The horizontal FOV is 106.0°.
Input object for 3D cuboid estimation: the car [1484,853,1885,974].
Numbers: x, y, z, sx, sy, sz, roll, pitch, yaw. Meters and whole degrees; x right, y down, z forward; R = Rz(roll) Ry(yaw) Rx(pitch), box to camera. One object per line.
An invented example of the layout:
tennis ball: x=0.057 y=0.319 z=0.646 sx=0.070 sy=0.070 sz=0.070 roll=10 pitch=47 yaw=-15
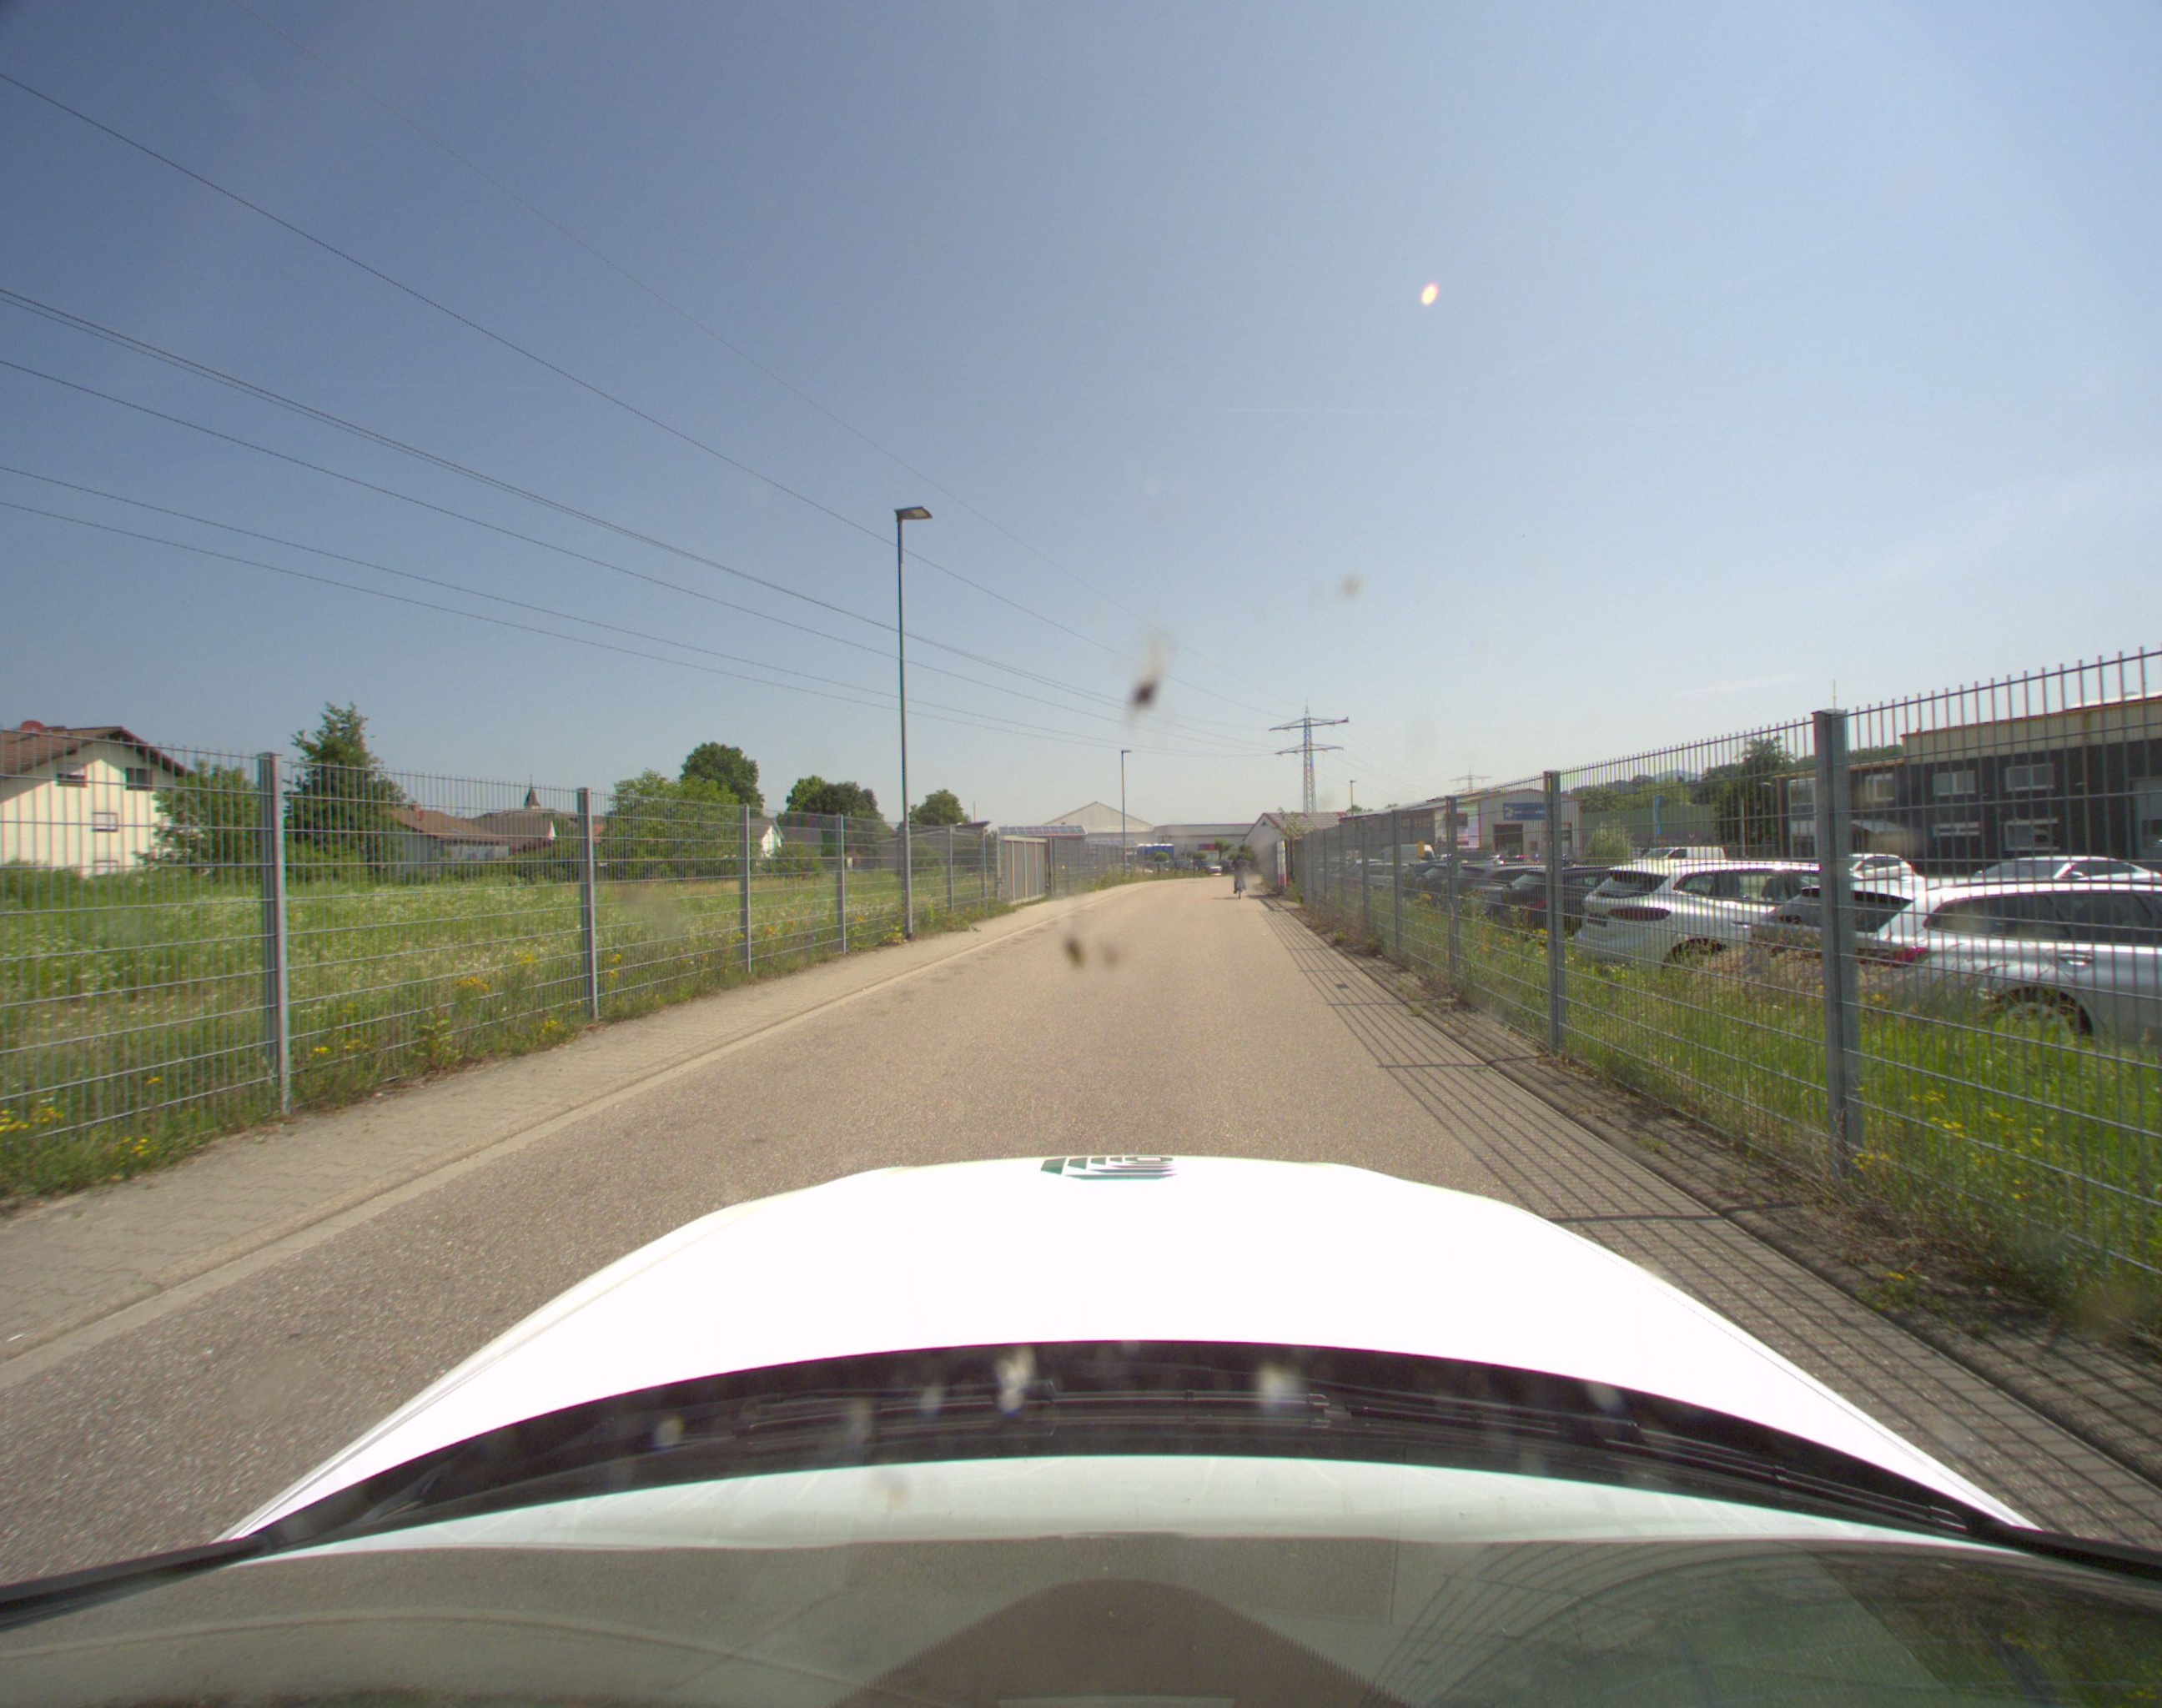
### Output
car: x=8.218 y=0.757 z=11.541 sx=4.181 sy=1.406 sz=1.845 roll=1 pitch=0 yaw=13

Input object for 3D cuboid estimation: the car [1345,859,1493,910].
car: x=10.945 y=0.970 z=26.567 sx=4.143 sy=1.474 sz=1.640 roll=1 pitch=0 yaw=5

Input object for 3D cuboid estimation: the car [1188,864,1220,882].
car: x=11.428 y=1.741 z=76.018 sx=1.862 sy=1.644 sz=3.621 roll=-1 pitch=-1 yaw=-10

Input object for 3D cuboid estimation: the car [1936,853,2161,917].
car: x=23.330 y=0.703 z=19.417 sx=4.502 sy=1.351 sz=1.623 roll=-1 pitch=-1 yaw=-6

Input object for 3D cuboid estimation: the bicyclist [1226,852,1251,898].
bicyclist: x=5.724 y=0.755 z=29.606 sx=0.836 sy=1.618 sz=1.043 roll=0 pitch=1 yaw=13

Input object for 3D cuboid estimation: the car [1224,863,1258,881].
car: x=14.874 y=1.657 z=75.960 sx=1.862 sy=1.554 sz=3.757 roll=-1 pitch=-1 yaw=-10

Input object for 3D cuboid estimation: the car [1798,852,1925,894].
car: x=29.086 y=0.695 z=30.373 sx=3.654 sy=1.436 sz=1.531 roll=-1 pitch=-1 yaw=-10

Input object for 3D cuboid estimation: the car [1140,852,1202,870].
car: x=7.014 y=0.528 z=63.703 sx=4.547 sy=1.307 sz=1.862 roll=-1 pitch=-1 yaw=-10

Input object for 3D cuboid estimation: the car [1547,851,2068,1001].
car: x=8.063 y=0.727 z=9.517 sx=4.181 sy=1.406 sz=1.845 roll=1 pitch=0 yaw=13

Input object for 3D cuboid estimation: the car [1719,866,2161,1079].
car: x=7.946 y=0.860 z=6.475 sx=4.188 sy=1.406 sz=1.842 roll=1 pitch=0 yaw=7

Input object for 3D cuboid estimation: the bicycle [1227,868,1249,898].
bicycle: x=5.741 y=1.041 z=29.717 sx=0.680 sy=1.051 sz=1.907 roll=0 pitch=0 yaw=13

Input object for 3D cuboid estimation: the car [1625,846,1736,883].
car: x=33.359 y=0.566 z=45.363 sx=5.052 sy=1.899 sz=1.854 roll=-1 pitch=-1 yaw=-6
